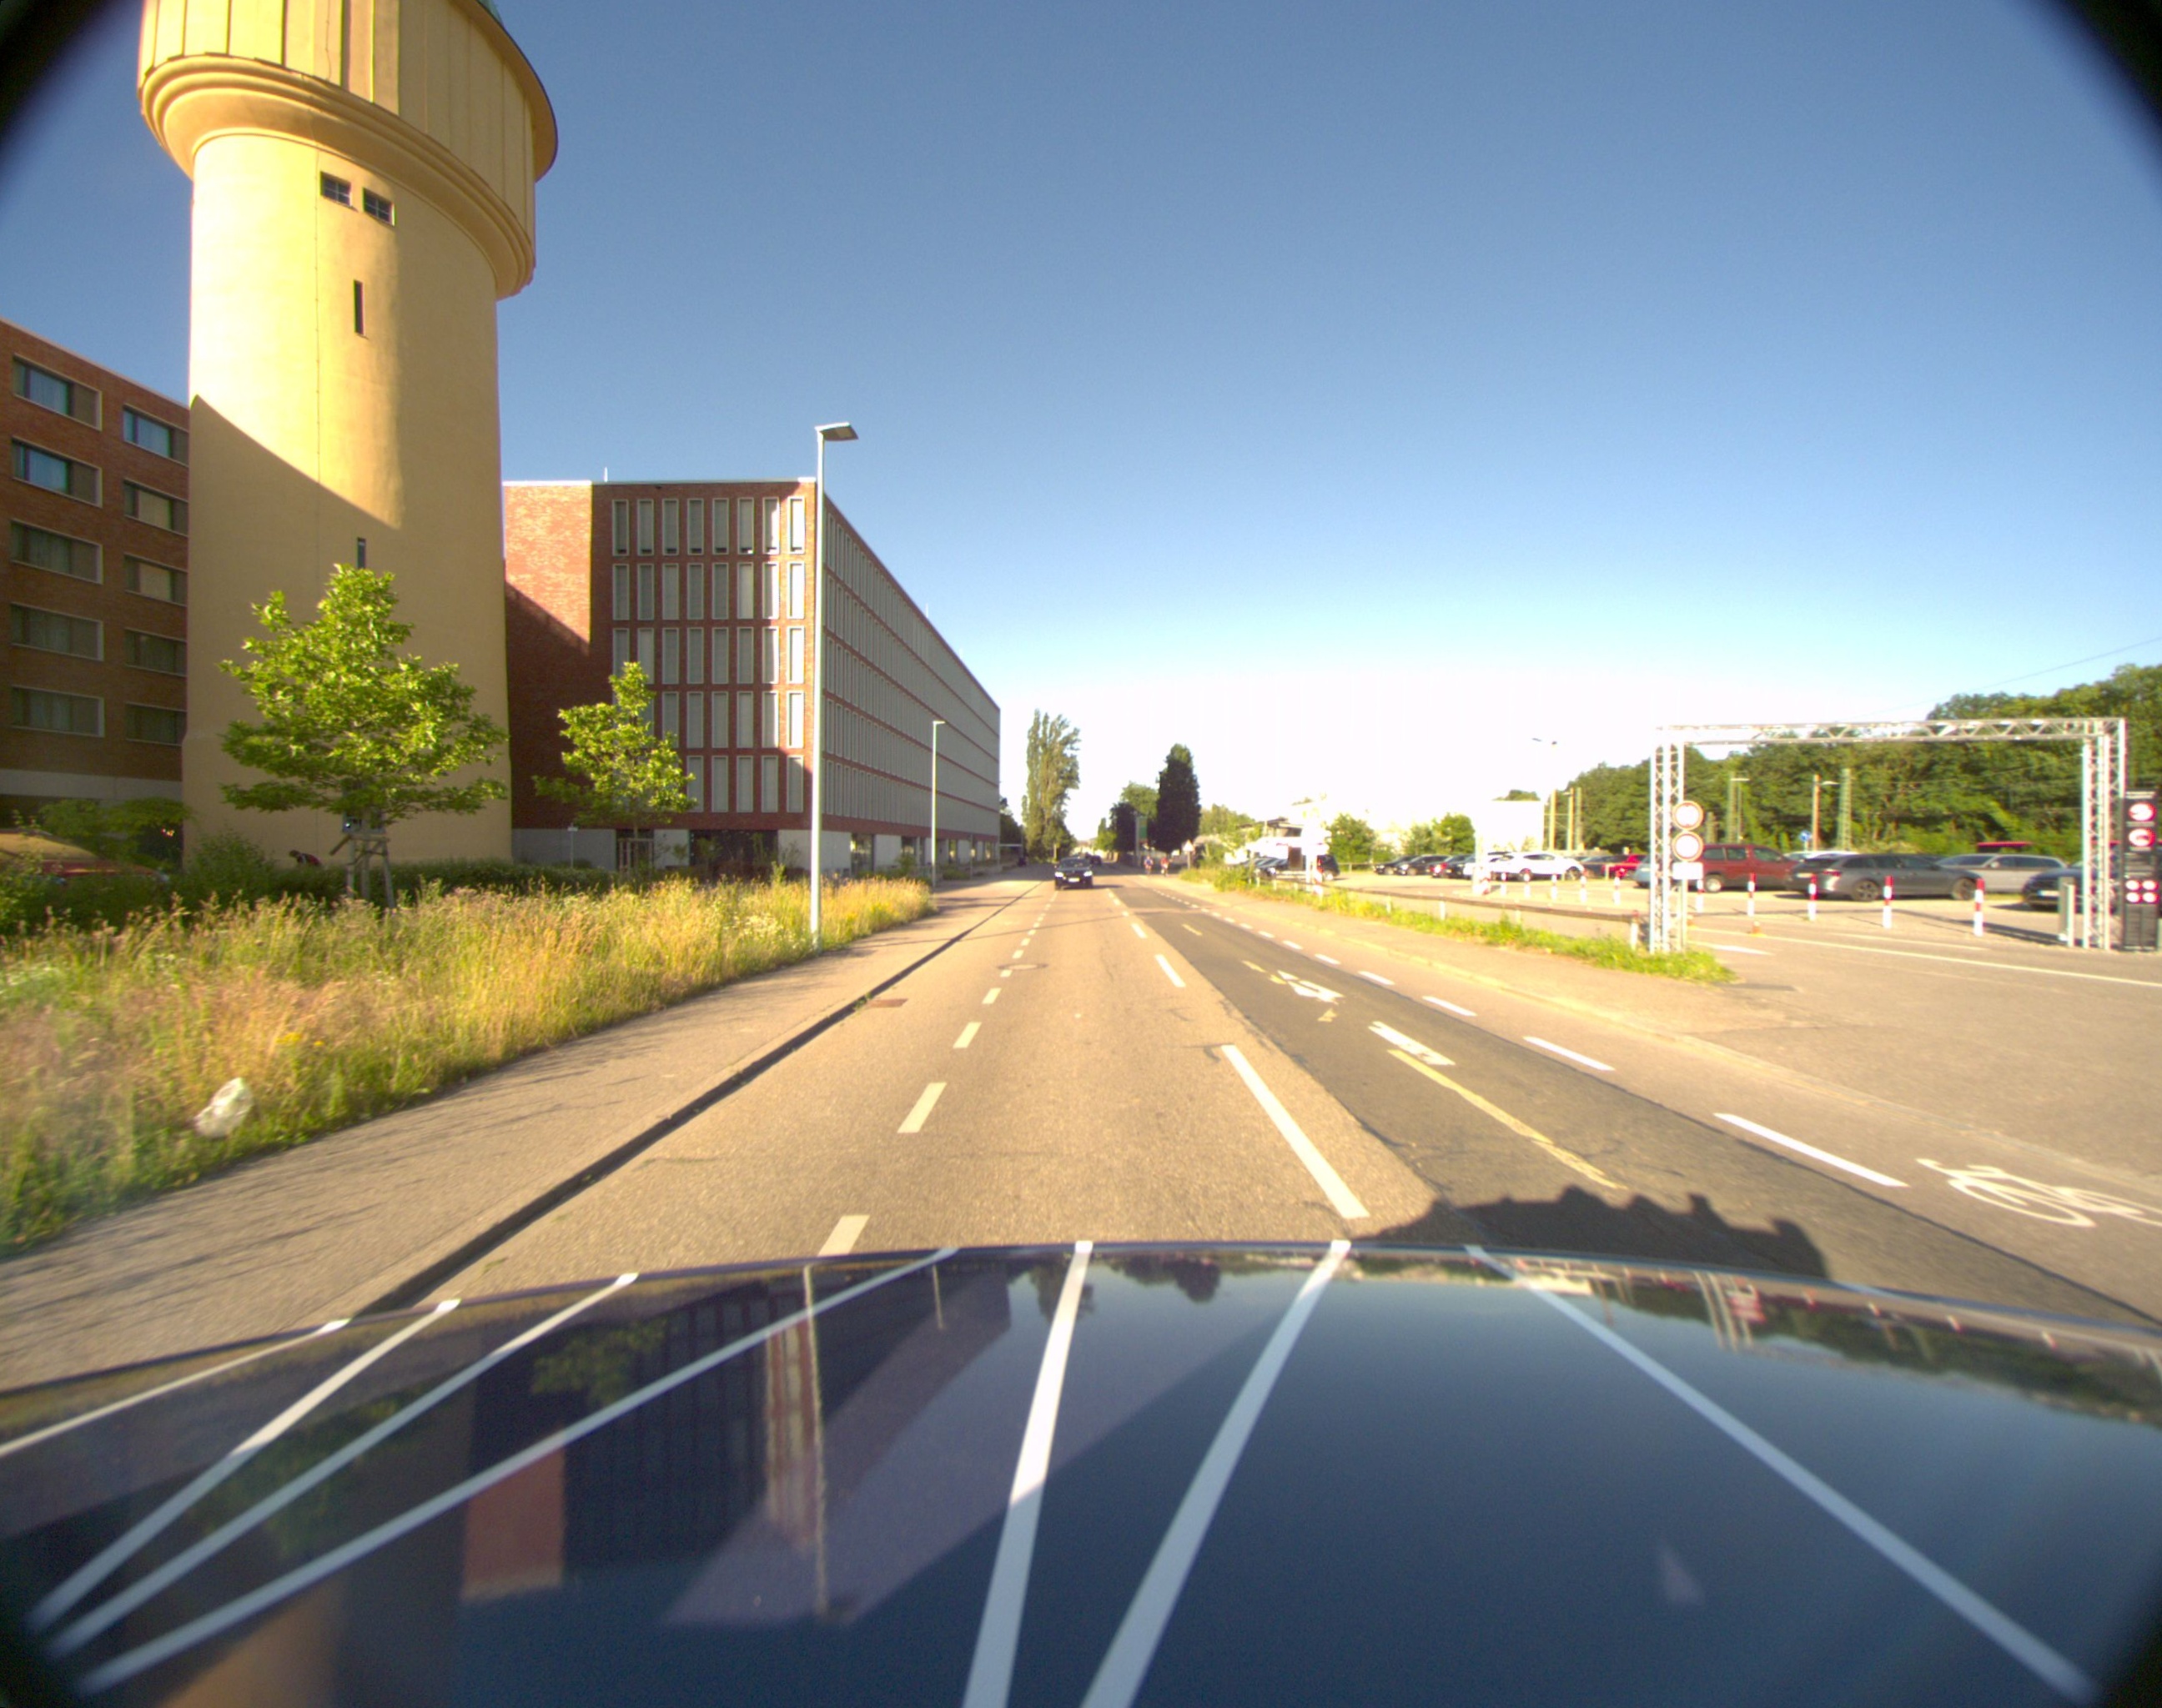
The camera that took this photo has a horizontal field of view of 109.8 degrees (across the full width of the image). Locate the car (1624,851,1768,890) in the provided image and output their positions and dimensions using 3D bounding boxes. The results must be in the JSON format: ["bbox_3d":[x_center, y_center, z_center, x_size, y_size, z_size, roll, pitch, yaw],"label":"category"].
[{"bbox_3d":[25.096,0.664,31.133,4.378,1.536,1.857,-1,0,1],"label":"car"}]

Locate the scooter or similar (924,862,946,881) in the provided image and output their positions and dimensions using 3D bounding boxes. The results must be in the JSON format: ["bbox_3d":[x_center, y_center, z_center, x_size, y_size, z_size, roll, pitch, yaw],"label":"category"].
[{"bbox_3d":[-8.886,1.066,46.217,1.245,1.149,0.366,1,1,4],"label":"scooter or similar"}]

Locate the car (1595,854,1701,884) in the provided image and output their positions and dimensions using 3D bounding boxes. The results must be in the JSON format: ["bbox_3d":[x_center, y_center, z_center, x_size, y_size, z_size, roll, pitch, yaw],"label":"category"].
[{"bbox_3d":[30.013,0.792,40.293,4.172,1.521,1.966,0,1,-3],"label":"car"}]

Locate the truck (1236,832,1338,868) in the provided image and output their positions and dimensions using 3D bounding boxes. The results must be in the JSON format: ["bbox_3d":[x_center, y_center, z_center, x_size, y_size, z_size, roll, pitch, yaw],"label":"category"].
[{"bbox_3d":[21.950,-0.435,81.116,10.125,3.594,2.775,-1,1,-1],"label":"truck"}]

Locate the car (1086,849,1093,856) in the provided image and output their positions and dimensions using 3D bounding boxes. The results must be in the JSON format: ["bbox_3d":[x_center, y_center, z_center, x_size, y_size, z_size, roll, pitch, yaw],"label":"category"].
[{"bbox_3d":[2.214,-0.365,197.071,1.745,1.517,4.111,4,0,-1],"label":"car"}]

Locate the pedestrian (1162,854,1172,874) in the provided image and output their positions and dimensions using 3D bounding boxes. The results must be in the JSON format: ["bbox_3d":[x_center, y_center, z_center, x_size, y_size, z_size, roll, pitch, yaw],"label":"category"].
[{"bbox_3d":[7.406,0.827,65.727,0.722,1.711,1.057,0,1,0],"label":"pedestrian"}]

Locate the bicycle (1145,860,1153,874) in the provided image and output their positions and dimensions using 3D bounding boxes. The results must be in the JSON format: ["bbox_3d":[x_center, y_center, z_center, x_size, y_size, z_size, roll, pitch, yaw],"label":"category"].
[{"bbox_3d":[5.950,1.128,66.414,0.447,1.142,2.201,-1,1,0],"label":"bicycle"}]

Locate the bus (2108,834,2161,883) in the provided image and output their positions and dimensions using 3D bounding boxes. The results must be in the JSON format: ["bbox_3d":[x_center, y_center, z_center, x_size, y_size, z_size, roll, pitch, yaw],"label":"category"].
[{"bbox_3d":[52.545,0.222,35.163,2.545,2.334,5.589,0,0,1],"label":"bus"}]

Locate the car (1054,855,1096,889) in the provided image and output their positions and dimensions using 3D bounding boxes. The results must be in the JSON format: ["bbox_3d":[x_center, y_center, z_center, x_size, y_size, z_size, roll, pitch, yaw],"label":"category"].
[{"bbox_3d":[-0.265,0.917,40.642,1.998,1.608,4.000,-3,1,2],"label":"car"}]

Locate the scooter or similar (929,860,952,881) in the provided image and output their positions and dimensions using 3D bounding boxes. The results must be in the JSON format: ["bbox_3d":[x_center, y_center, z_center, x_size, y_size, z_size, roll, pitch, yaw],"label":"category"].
[{"bbox_3d":[-8.839,1.035,47.815,1.343,1.238,0.424,1,1,4],"label":"scooter or similar"}]

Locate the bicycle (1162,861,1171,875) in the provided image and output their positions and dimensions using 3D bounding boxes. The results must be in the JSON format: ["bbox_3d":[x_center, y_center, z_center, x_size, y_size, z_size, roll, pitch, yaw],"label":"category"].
[{"bbox_3d":[7.406,1.241,65.822,0.471,1.142,1.869,-1,1,0],"label":"bicycle"}]

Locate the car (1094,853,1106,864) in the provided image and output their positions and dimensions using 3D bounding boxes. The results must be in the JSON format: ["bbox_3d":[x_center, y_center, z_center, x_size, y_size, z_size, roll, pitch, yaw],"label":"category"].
[{"bbox_3d":[2.855,0.611,113.909,1.658,1.495,3.999,1,1,1],"label":"car"}]

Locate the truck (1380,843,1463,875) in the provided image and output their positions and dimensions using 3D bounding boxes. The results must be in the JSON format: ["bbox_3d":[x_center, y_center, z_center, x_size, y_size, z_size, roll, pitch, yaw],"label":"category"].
[{"bbox_3d":[31.235,0.446,69.820,6.512,2.791,2.315,0,1,-1],"label":"truck"}]

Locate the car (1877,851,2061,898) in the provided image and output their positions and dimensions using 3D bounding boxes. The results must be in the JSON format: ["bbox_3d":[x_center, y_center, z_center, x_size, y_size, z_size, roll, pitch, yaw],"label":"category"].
[{"bbox_3d":[29.562,0.663,25.394,3.997,1.457,1.894,0,0,-1],"label":"car"}]

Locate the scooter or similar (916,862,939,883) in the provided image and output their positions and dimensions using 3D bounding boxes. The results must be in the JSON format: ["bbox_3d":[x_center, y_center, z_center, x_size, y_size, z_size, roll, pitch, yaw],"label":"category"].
[{"bbox_3d":[-9.005,1.095,44.647,1.245,1.188,0.340,1,1,4],"label":"scooter or similar"}]

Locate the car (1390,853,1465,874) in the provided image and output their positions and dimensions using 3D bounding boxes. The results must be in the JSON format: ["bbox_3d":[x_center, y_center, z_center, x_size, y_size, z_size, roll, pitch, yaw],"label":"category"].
[{"bbox_3d":[24.488,0.654,53.783,4.415,1.457,2.048,0,0,-4],"label":"car"}]

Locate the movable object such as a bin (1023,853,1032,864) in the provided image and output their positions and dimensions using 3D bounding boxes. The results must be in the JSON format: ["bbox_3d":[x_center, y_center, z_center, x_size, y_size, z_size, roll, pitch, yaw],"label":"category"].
[{"bbox_3d":[-7.034,0.581,100.245,1.131,1.328,1.345,0,1,-1],"label":"movable object such as a bin"}]

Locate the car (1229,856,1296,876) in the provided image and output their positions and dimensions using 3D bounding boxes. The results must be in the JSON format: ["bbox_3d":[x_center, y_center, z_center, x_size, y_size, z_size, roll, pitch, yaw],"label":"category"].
[{"bbox_3d":[13.341,0.845,56.093,4.439,1.453,2.048,0,0,1],"label":"car"}]

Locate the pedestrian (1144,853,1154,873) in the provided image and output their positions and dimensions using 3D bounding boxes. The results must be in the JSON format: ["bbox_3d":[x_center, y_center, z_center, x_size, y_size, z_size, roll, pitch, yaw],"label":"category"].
[{"bbox_3d":[5.926,0.815,66.320,0.722,1.711,1.057,0,1,0],"label":"pedestrian"}]

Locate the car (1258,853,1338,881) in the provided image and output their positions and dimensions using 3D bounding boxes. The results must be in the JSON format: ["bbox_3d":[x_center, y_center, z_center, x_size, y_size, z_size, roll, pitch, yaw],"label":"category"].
[{"bbox_3d":[13.445,0.780,47.288,4.439,1.660,2.048,0,1,1],"label":"car"}]

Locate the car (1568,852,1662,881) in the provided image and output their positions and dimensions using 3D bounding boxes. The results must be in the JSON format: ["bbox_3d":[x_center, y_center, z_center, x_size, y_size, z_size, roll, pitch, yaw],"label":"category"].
[{"bbox_3d":[29.911,0.704,42.656,3.998,1.540,1.913,0,0,-3],"label":"car"}]

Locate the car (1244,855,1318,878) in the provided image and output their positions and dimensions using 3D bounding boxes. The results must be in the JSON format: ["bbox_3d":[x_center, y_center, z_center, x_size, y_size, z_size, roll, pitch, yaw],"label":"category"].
[{"bbox_3d":[13.178,0.802,50.262,4.439,1.453,2.048,0,0,1],"label":"car"}]

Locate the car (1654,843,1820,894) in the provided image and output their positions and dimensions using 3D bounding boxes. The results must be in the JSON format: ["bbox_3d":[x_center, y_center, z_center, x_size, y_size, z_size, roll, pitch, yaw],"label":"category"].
[{"bbox_3d":[24.476,0.525,28.453,4.587,1.794,1.857,-1,0,1],"label":"car"}]

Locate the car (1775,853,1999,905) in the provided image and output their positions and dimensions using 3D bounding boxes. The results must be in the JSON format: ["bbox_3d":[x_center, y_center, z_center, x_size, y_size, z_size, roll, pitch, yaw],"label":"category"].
[{"bbox_3d":[24.475,0.731,23.229,4.586,1.472,1.991,-1,0,3],"label":"car"}]

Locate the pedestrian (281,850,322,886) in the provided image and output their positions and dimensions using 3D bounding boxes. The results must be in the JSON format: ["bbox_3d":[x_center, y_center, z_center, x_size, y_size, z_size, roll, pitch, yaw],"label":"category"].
[{"bbox_3d":[-25.093,0.439,24.454,0.755,1.129,0.818,2,1,35],"label":"pedestrian"}]

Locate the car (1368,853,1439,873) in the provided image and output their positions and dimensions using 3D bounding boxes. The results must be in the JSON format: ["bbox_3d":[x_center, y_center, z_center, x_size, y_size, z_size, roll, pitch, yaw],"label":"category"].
[{"bbox_3d":[23.982,0.663,56.515,4.415,1.457,2.048,0,0,-4],"label":"car"}]

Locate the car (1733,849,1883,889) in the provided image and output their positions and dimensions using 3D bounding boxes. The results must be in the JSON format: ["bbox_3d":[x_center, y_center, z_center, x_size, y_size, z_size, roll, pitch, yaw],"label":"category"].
[{"bbox_3d":[29.899,0.608,31.345,4.378,1.536,1.857,-1,0,1],"label":"car"}]

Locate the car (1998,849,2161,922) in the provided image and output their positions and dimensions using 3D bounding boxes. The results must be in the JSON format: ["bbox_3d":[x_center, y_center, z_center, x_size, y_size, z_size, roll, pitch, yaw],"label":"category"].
[{"bbox_3d":[24.672,0.678,17.593,4.587,1.576,1.857,-1,0,1],"label":"car"}]

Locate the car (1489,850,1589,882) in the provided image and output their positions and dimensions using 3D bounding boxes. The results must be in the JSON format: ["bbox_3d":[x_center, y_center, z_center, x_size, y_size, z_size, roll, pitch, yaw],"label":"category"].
[{"bbox_3d":[24.401,0.606,40.579,4.172,1.652,1.966,0,1,-3],"label":"car"}]

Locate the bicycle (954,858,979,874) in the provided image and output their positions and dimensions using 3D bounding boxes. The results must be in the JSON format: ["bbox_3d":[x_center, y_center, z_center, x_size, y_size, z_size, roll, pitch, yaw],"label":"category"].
[{"bbox_3d":[-8.955,0.953,59.509,1.938,1.163,0.375,1,1,-6],"label":"bicycle"}]

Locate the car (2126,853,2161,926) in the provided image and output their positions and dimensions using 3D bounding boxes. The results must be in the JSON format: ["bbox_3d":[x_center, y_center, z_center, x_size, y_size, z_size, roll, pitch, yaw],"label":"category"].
[{"bbox_3d":[24.572,0.719,15.335,4.332,1.514,1.878,-1,0,1],"label":"car"}]

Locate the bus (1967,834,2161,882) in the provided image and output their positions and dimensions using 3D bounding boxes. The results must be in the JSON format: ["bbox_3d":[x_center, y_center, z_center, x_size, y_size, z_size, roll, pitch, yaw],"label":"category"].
[{"bbox_3d":[52.692,0.193,41.031,2.545,2.334,6.205,0,0,2],"label":"bus"}]

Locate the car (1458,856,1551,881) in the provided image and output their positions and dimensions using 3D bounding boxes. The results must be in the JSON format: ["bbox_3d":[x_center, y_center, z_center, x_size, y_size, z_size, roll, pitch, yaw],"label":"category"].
[{"bbox_3d":[23.943,0.794,43.075,4.172,1.389,2.048,0,0,-4],"label":"car"}]

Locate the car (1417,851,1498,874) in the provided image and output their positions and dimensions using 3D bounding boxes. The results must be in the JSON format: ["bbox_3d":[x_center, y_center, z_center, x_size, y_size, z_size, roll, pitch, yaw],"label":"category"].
[{"bbox_3d":[24.040,0.535,48.557,4.172,1.389,2.048,0,0,-4],"label":"car"}]

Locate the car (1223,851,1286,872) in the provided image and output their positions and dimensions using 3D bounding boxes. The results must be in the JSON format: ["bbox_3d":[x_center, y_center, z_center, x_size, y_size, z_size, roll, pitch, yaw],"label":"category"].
[{"bbox_3d":[13.363,0.583,58.741,4.439,1.571,2.048,0,1,1],"label":"car"}]

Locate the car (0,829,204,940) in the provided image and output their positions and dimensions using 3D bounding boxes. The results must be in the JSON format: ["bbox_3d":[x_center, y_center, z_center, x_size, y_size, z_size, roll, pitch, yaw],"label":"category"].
[{"bbox_3d":[-16.628,0.449,11.727,4.193,1.571,1.852,-1,0,4],"label":"car"}]

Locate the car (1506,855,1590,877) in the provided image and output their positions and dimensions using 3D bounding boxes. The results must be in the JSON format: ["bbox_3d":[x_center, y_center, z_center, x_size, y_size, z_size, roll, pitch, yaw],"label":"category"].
[{"bbox_3d":[29.840,0.766,48.600,4.172,1.389,2.048,0,0,-4],"label":"car"}]

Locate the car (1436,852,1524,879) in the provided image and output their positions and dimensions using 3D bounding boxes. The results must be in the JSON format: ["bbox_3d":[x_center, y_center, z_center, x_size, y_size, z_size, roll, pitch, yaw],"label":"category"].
[{"bbox_3d":[23.856,0.677,45.517,4.172,1.569,2.048,0,1,-4],"label":"car"}]
